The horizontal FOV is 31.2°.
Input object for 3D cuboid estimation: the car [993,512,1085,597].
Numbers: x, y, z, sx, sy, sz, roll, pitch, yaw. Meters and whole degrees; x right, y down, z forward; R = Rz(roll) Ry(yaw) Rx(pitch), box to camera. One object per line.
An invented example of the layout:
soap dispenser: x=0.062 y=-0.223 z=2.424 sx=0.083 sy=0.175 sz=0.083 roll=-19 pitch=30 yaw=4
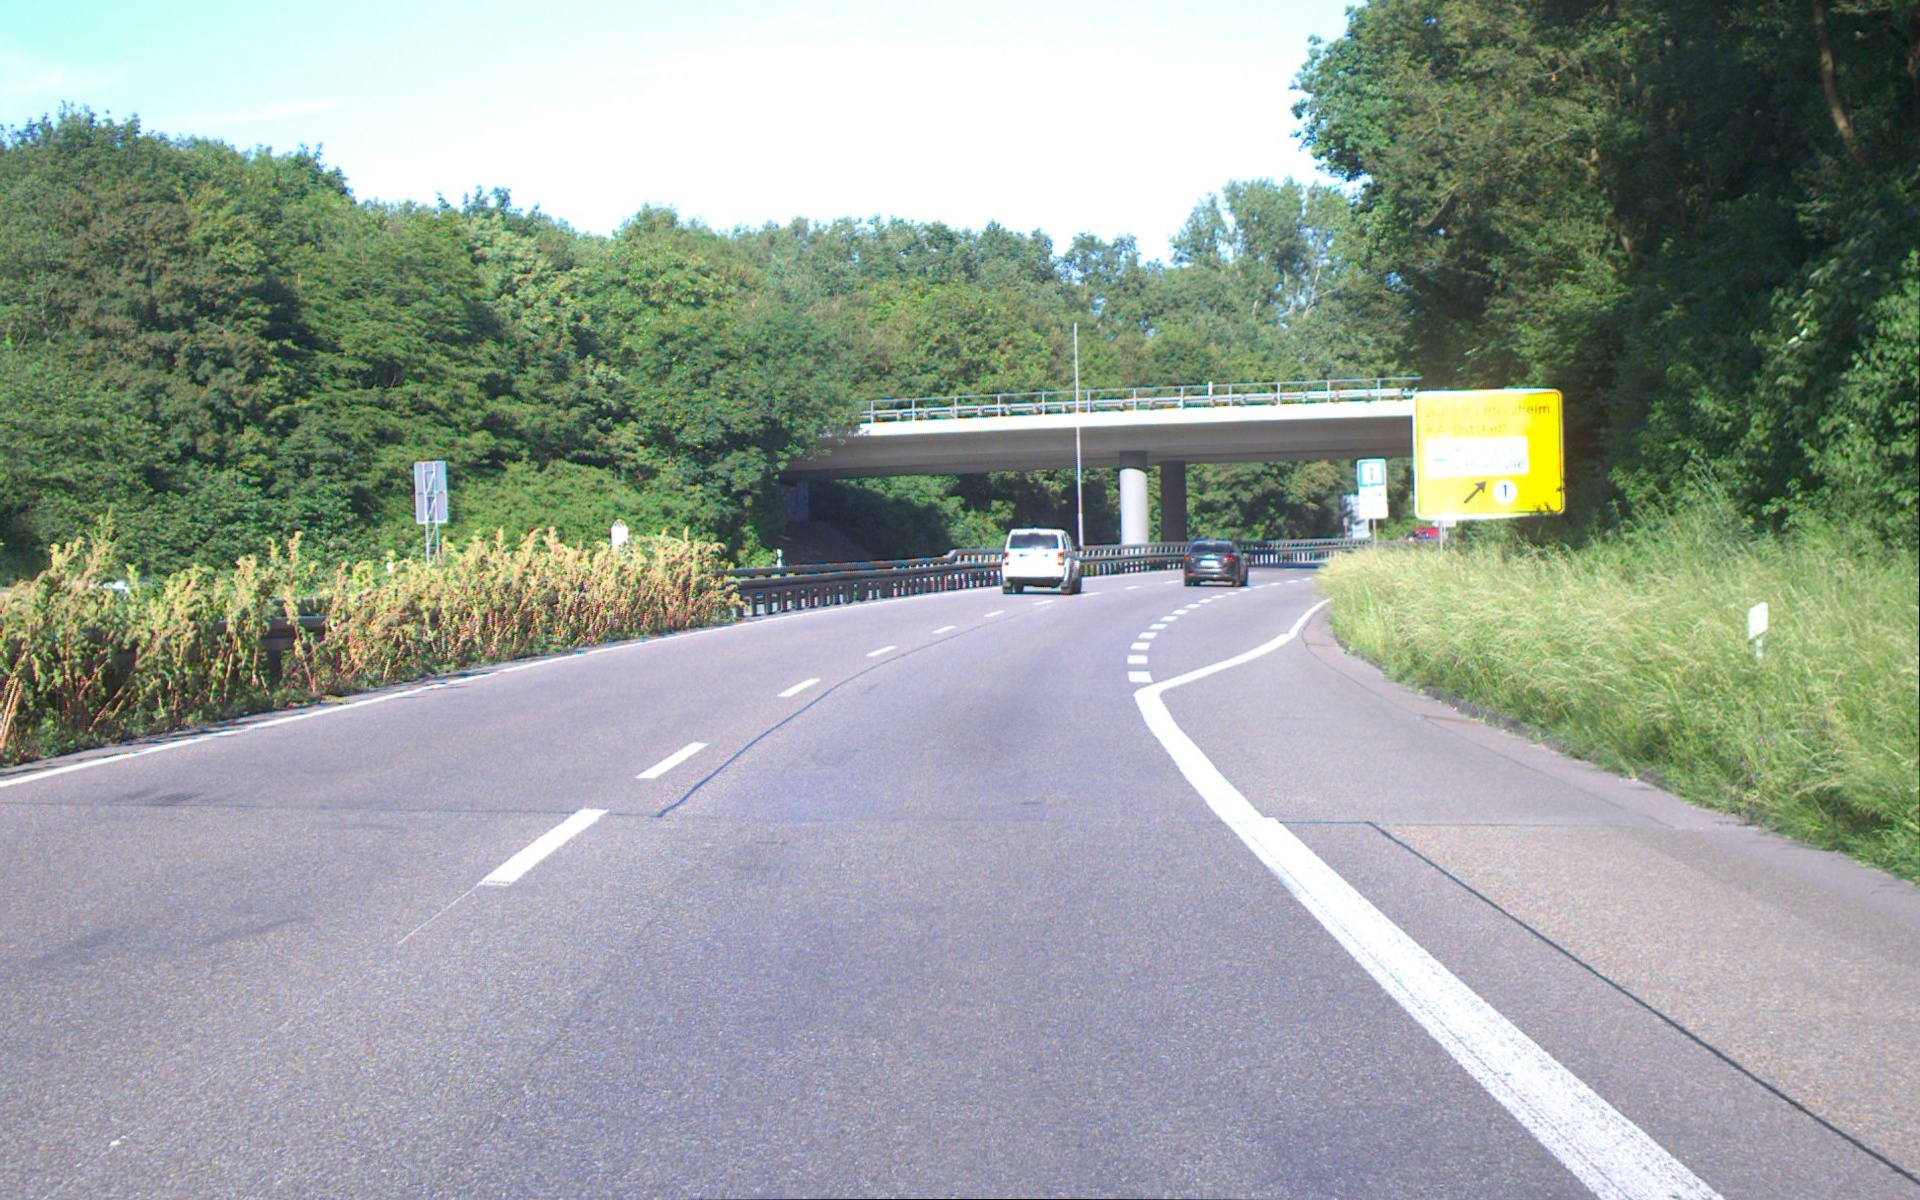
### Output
car: x=2.172 y=-1.247 z=93.514 sx=1.994 sy=2.270 sz=3.999 roll=0 pitch=1 yaw=8

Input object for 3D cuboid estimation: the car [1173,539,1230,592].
car: x=7.777 y=-1.122 z=110.759 sx=1.739 sy=1.656 sz=3.945 roll=-1 pitch=1 yaw=3
